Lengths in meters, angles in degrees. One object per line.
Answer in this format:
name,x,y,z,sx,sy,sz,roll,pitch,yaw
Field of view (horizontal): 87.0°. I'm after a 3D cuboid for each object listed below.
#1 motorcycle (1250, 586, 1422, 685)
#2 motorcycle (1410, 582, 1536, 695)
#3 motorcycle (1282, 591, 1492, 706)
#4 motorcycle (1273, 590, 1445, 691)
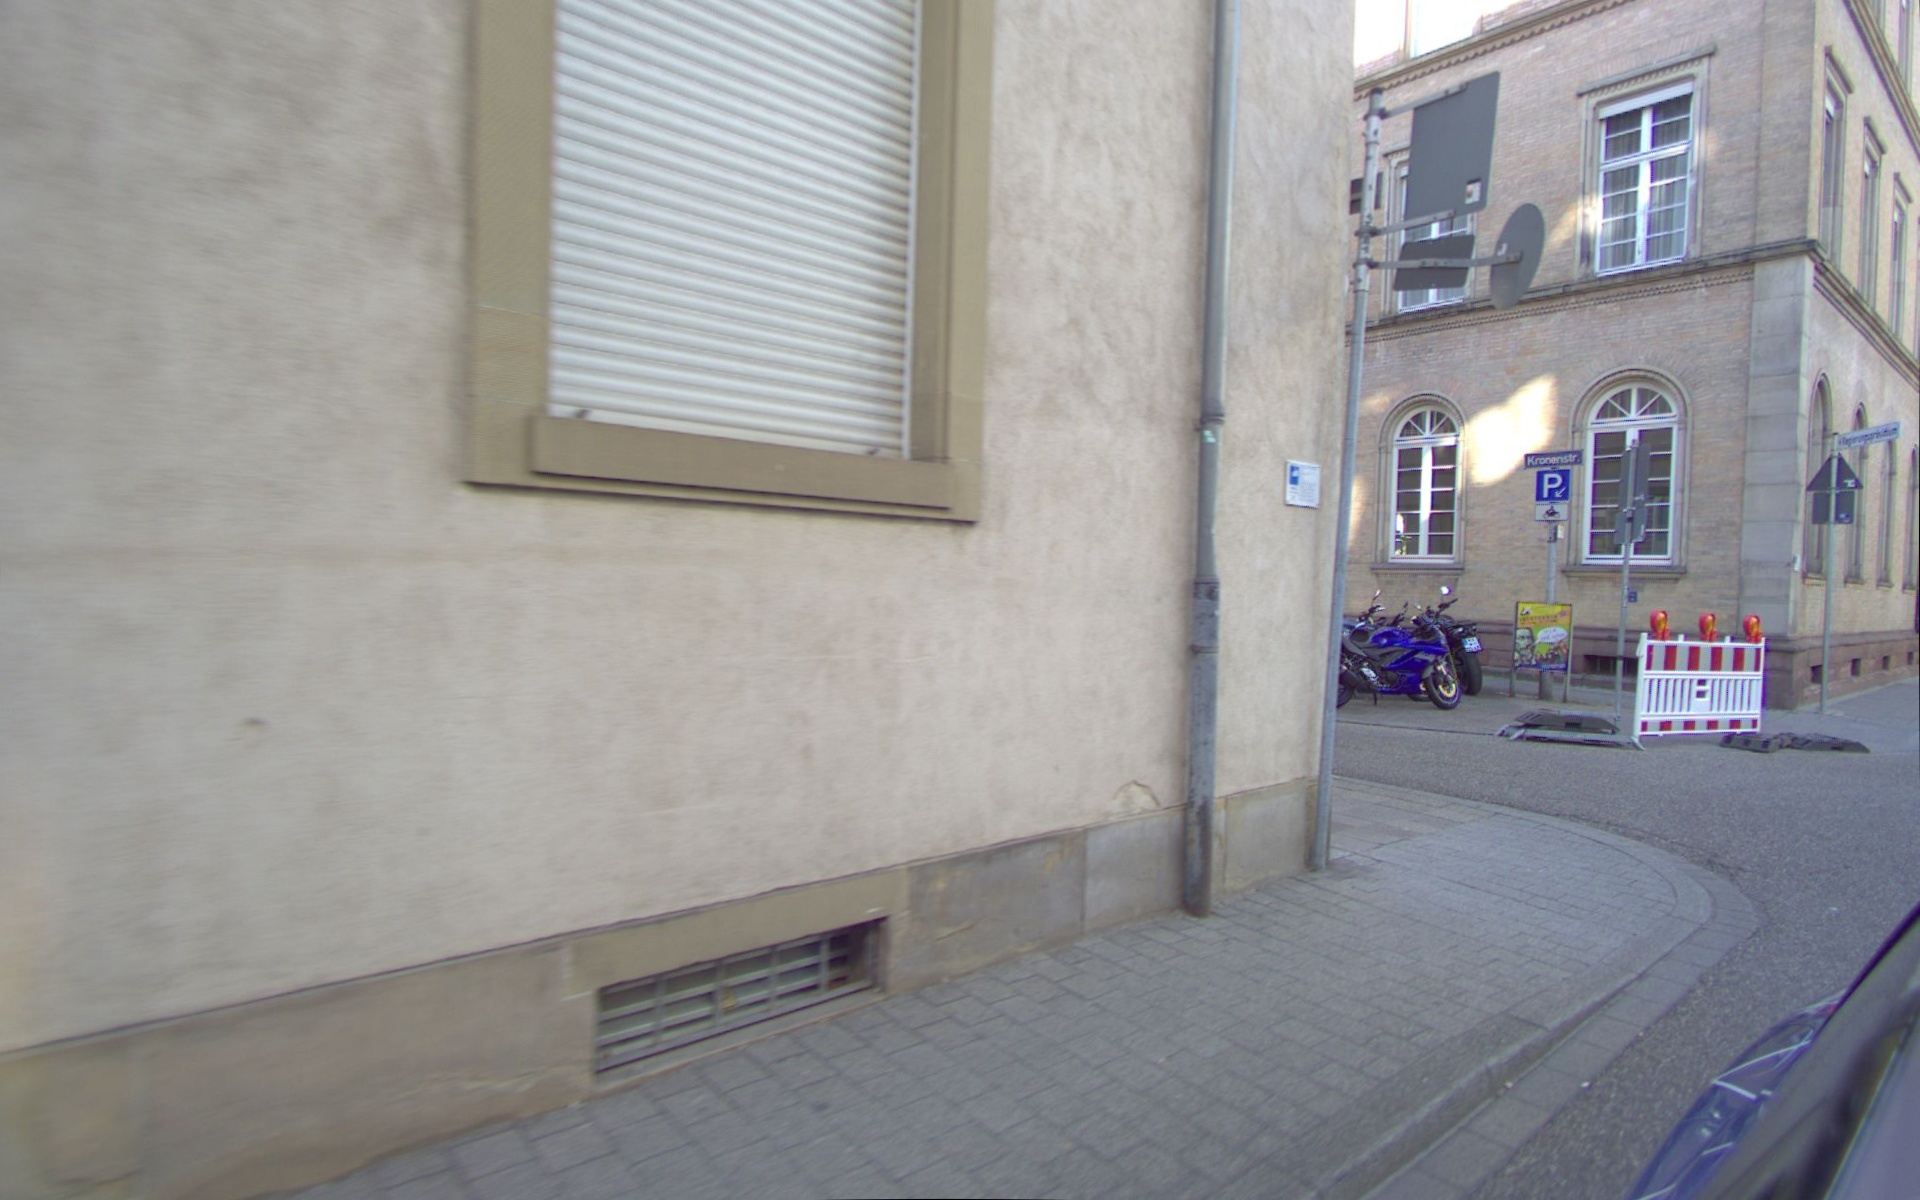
motorcycle,5.295,0.486,14.374,2.106,1.304,0.828,1,1,4
motorcycle,6.839,0.457,13.620,0.694,1.349,2.079,1,2,3
motorcycle,5.090,0.558,12.195,2.111,1.239,0.875,1,3,4
motorcycle,5.248,0.516,13.403,1.919,1.240,0.828,1,1,4
